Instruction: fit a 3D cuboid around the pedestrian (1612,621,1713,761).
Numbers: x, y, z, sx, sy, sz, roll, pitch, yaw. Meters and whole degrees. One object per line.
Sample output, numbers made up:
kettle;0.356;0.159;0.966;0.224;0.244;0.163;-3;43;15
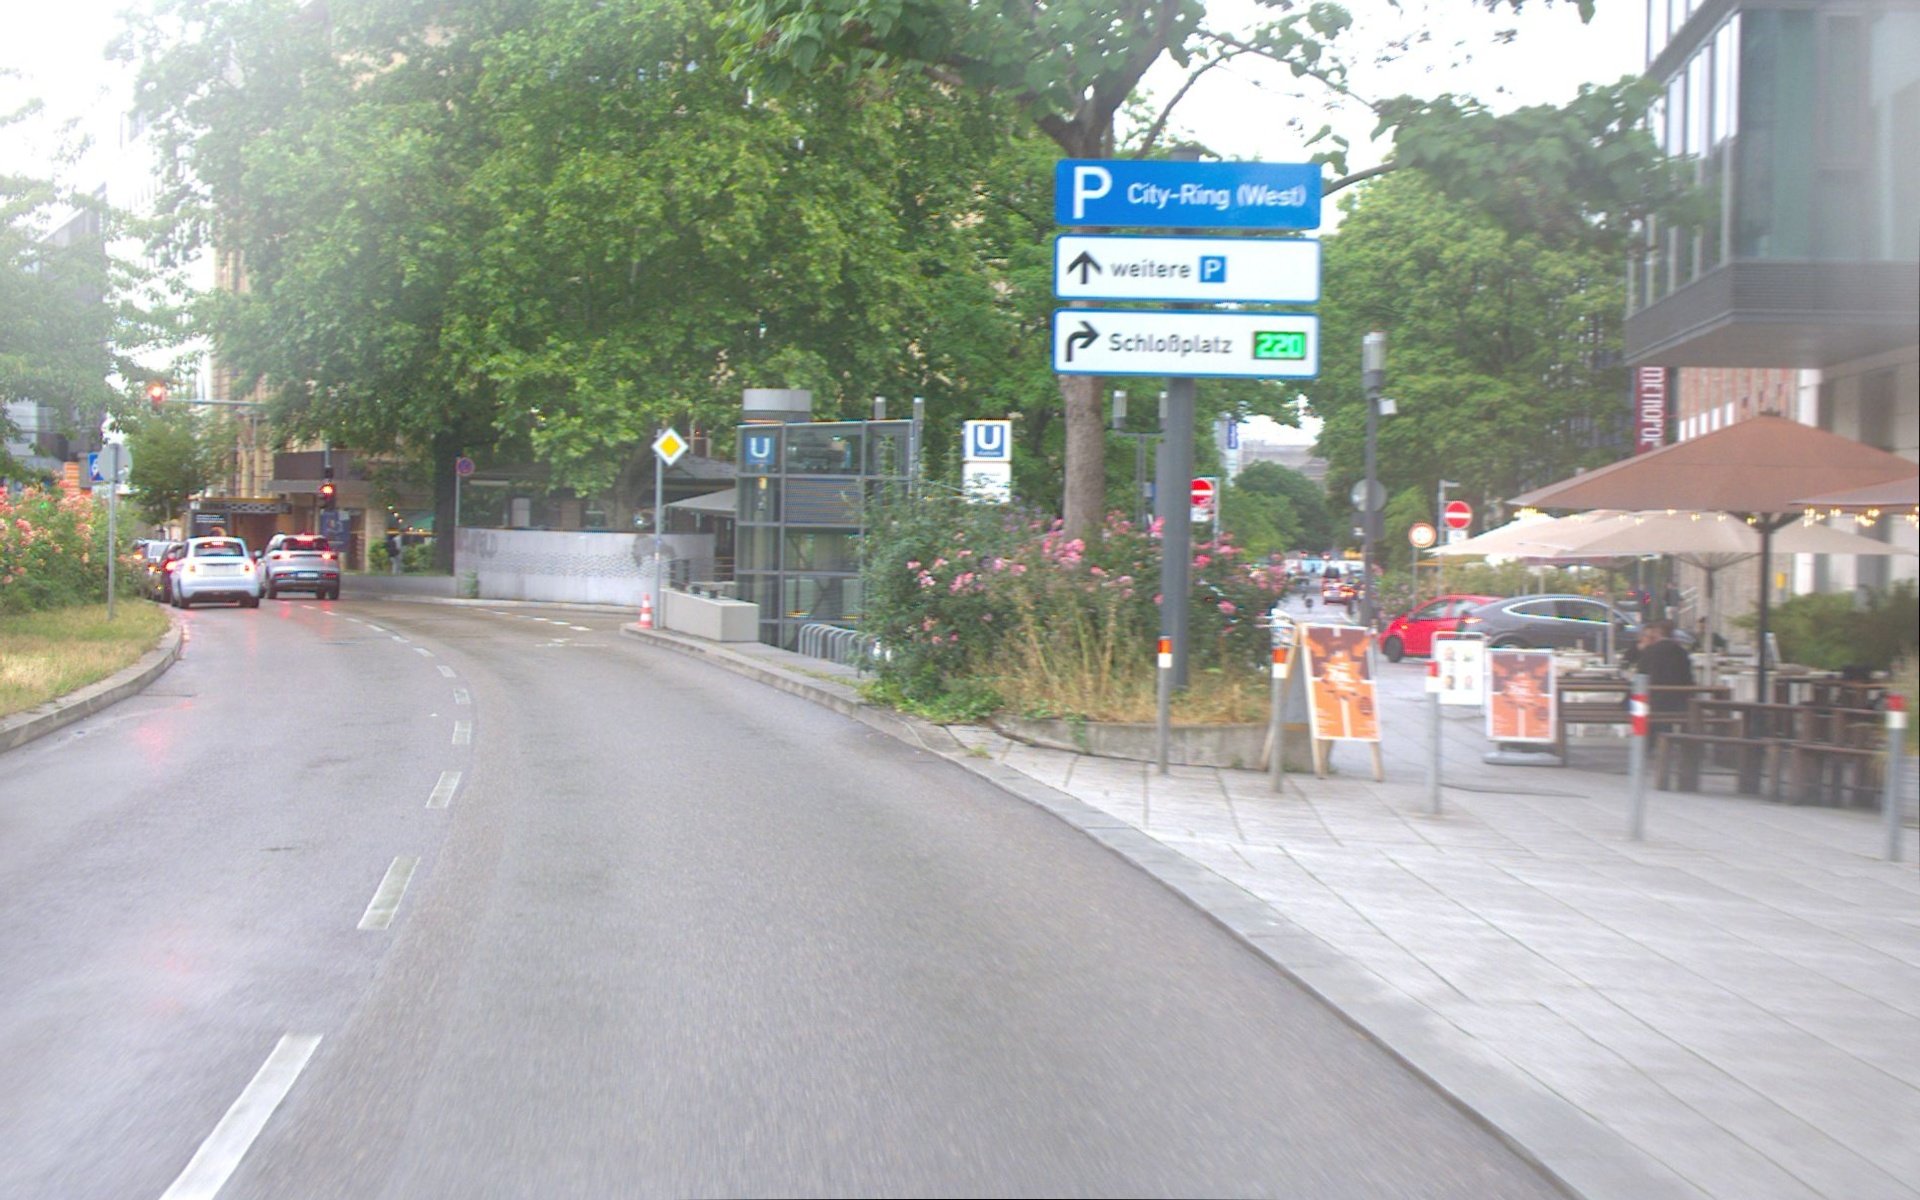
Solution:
pedestrian;6.999;0.898;34.269;0.817;1.322;0.636;4;0;3

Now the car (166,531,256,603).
car;-16.207;-0.737;74.316;1.589;1.486;3.506;-1;1;-17

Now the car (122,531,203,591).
car;-20.161;-1.003;86.818;1.690;1.458;4.347;-1;1;-17

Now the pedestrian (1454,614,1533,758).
pedestrian;5.073;0.812;32.698;0.606;1.322;0.567;4;0;3

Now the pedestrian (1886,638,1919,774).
pedestrian;9.717;1.069;34.128;0.817;1.322;0.636;4;0;3

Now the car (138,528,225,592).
car;-18.329;-0.961;80.851;1.690;1.458;4.131;-1;1;-17

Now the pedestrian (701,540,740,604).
pedestrian;-5.481;-0.638;78.512;0.684;1.405;0.905;3;-1;-12

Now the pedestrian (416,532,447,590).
pedestrian;-16.266;-1.197;105.765;0.858;1.774;0.718;1;0;-14

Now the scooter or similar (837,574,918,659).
scooter or similar;-1.235;0.246;51.177;1.112;1.230;0.365;2;1;-12

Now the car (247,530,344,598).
car;-17.127;-0.937;88.483;1.946;1.660;4.347;2;0;-17

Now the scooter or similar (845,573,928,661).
scooter or similar;-1.066;0.244;49.874;1.112;1.233;0.365;2;1;-12

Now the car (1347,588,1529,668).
car;9.803;0.568;70.750;1.609;1.411;3.528;3;1;-37

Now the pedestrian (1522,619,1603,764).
pedestrian;5.719;0.860;32.646;0.606;1.322;0.567;4;0;3

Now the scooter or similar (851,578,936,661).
scooter or similar;-0.953;0.277;49.425;1.112;1.154;0.443;2;1;-12

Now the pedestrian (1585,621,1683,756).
pedestrian;6.922;0.901;35.320;0.817;1.322;0.636;4;0;3

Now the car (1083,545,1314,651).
car;4.384;-0.042;63.705;4.097;1.615;1.863;5;0;2

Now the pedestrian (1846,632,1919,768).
pedestrian;9.556;1.018;35.046;0.817;1.322;0.636;4;0;2

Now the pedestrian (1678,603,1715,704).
pedestrian;10.277;0.745;47.990;0.434;1.399;0.478;1;0;5

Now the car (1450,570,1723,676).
car;11.433;0.401;63.014;4.736;1.685;2.004;3;1;6
